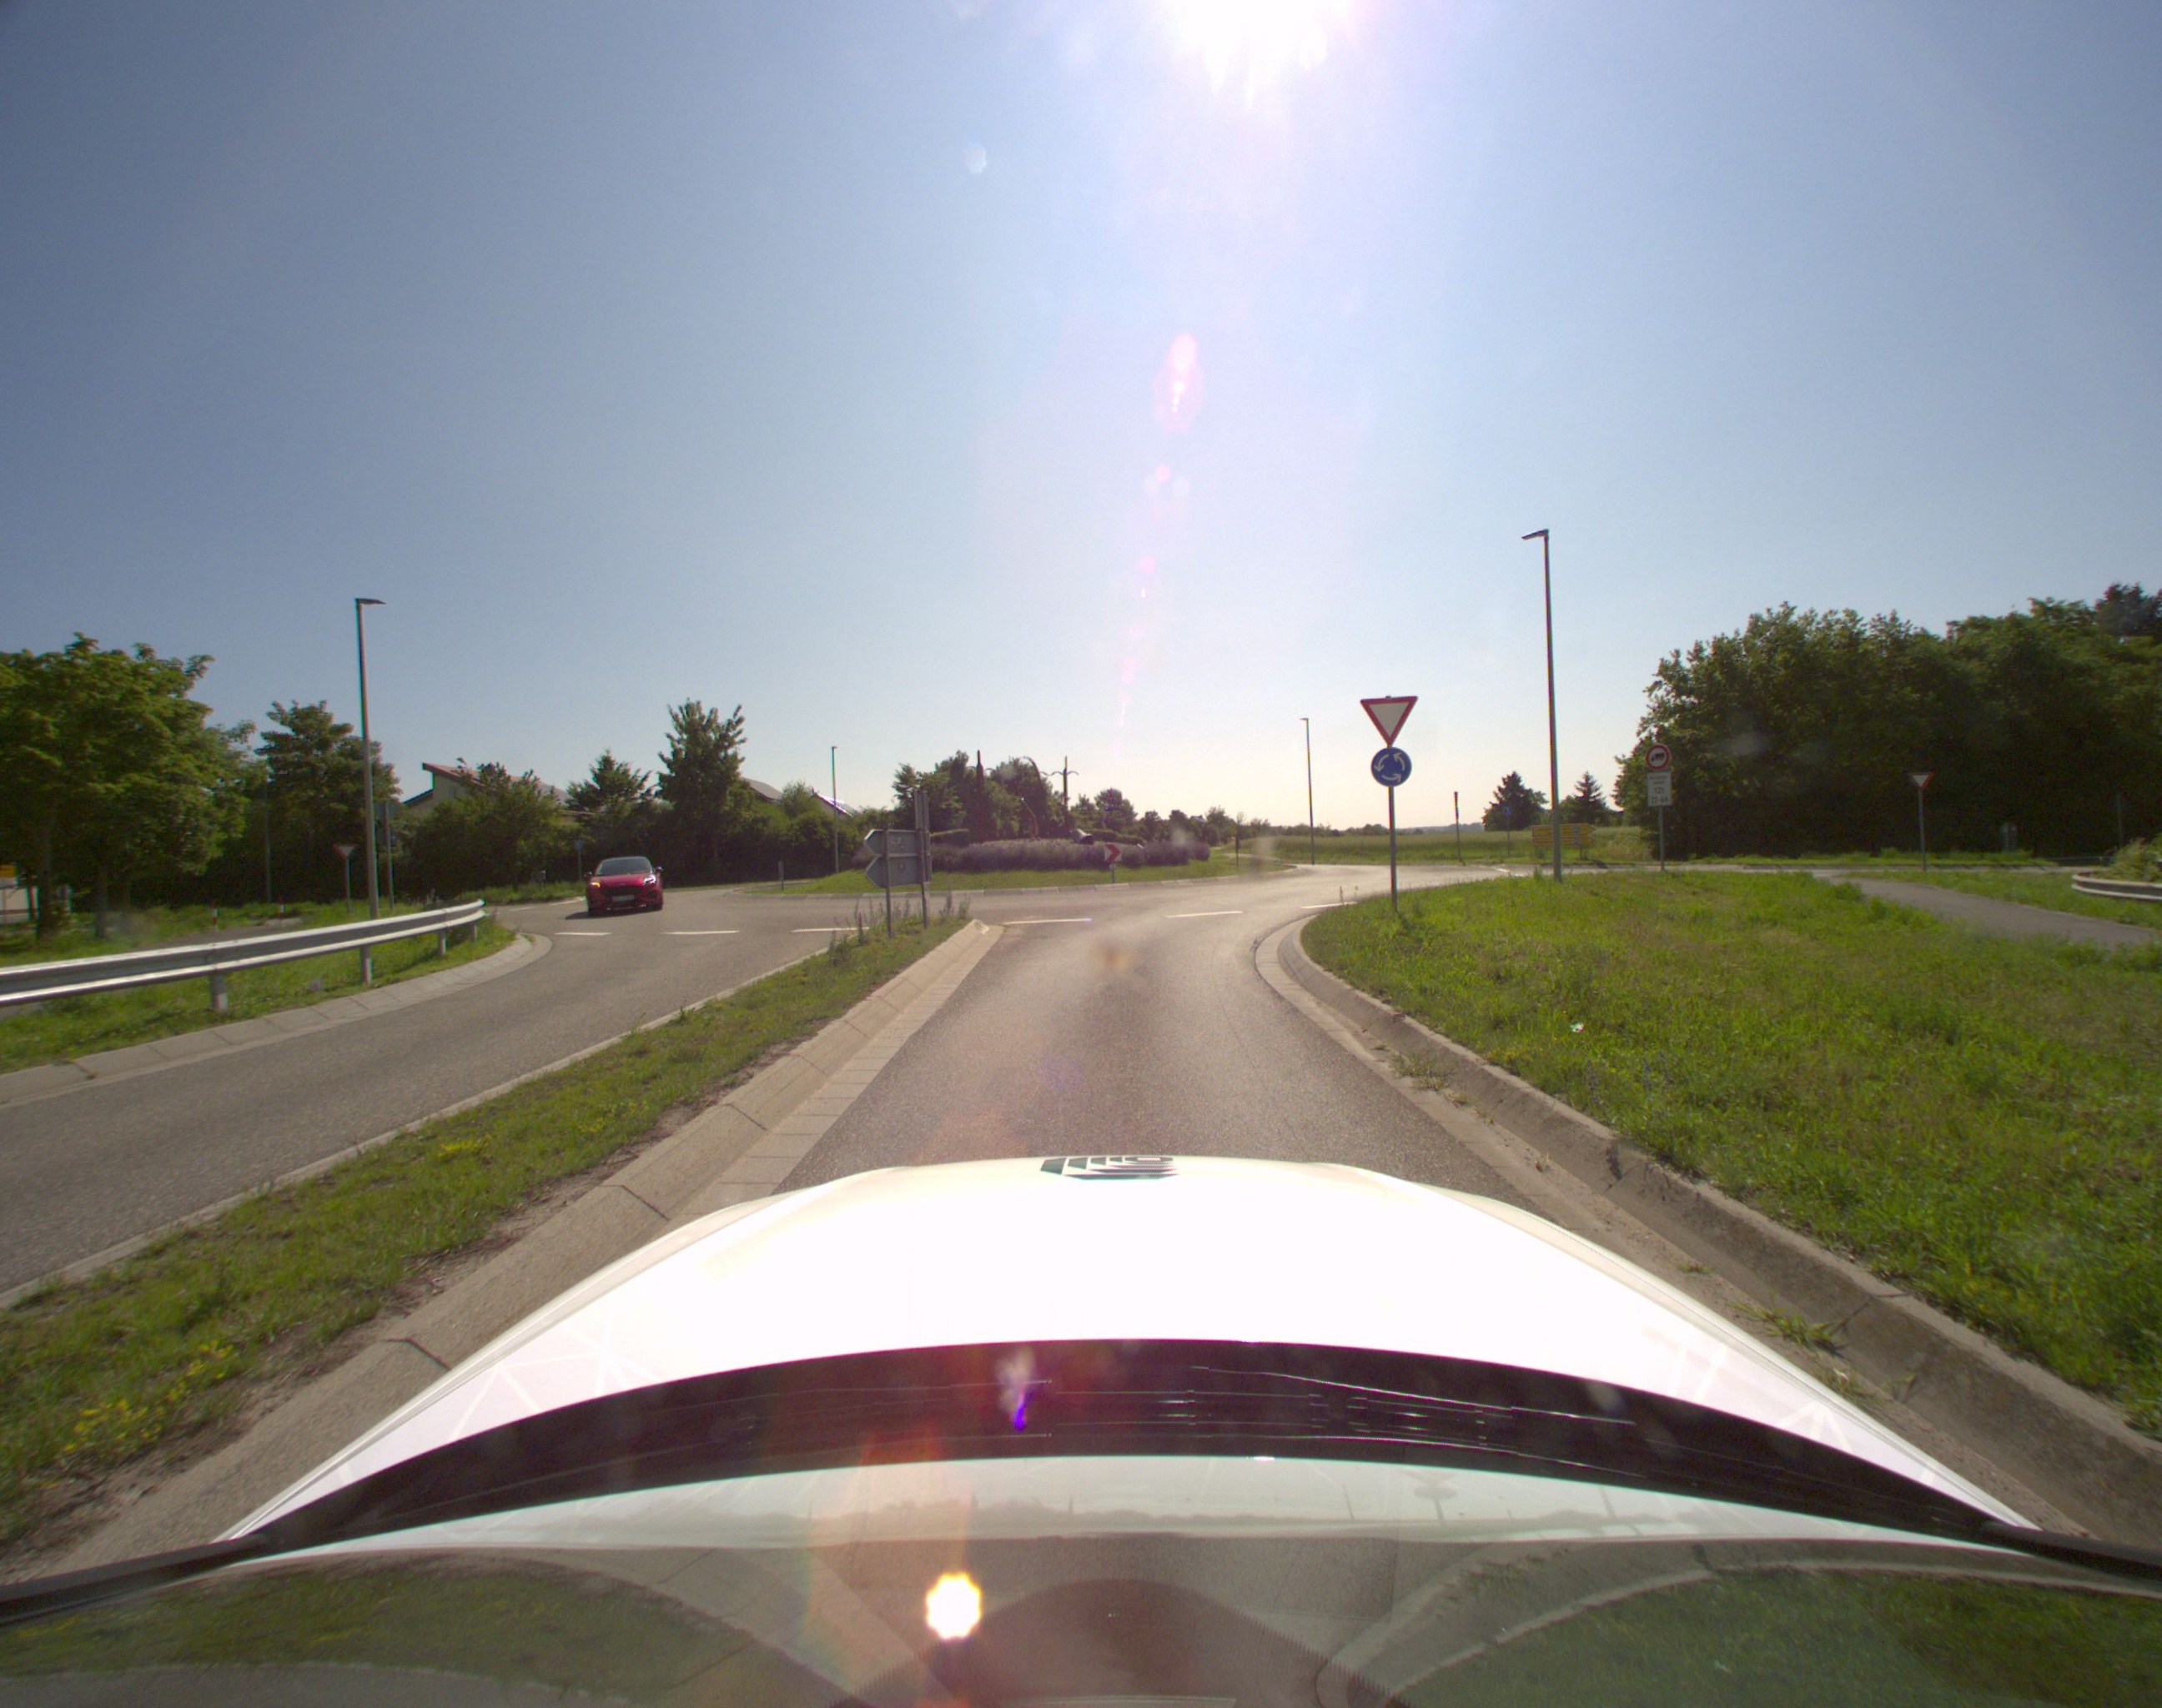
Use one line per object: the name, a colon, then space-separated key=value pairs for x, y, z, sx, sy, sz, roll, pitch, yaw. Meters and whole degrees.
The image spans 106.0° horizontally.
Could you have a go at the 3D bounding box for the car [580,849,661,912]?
car: x=-12.975 y=0.679 z=23.151 sx=1.754 sy=1.522 sz=3.797 roll=-4 pitch=2 yaw=-27
